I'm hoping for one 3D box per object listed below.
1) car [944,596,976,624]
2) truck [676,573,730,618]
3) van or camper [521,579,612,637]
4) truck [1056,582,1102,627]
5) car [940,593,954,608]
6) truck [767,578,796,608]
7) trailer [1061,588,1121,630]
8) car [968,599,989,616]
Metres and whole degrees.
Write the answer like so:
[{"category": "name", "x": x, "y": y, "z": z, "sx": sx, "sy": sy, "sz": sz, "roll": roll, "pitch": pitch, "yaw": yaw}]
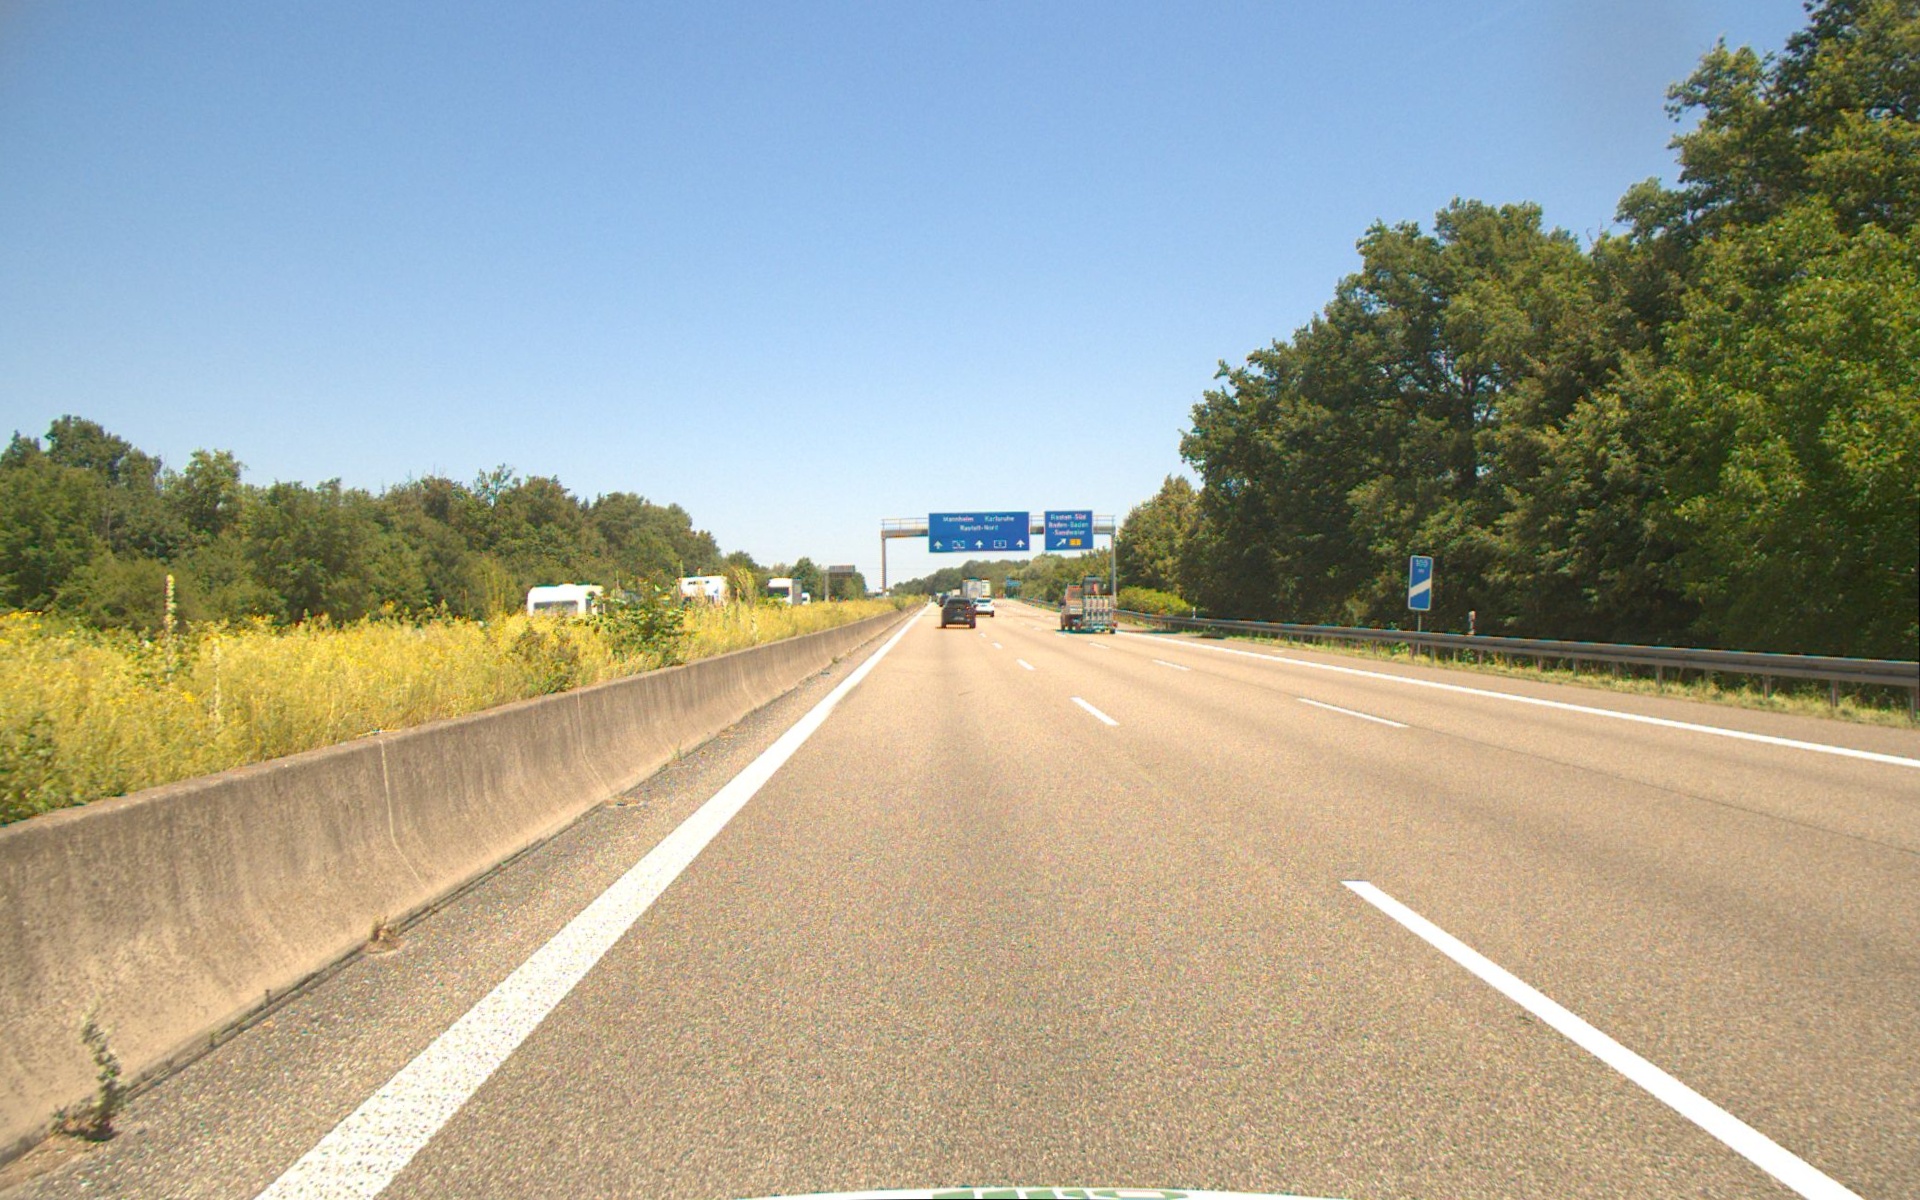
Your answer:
[{"category": "car", "x": -0.020, "y": 0.547, "z": 94.775, "sx": 1.627, "sy": 1.576, "sz": 3.781, "roll": -1, "pitch": 0, "yaw": -2}, {"category": "truck", "x": -13.773, "y": -0.221, "z": 88.876, "sx": 2.264, "sy": 2.367, "sz": 6.076, "roll": 0, "pitch": 0, "yaw": -3}, {"category": "van or camper", "x": -14.748, "y": 0.314, "z": 62.367, "sx": 2.177, "sy": 2.049, "sz": 5.884, "roll": 1, "pitch": 0, "yaw": -2}, {"category": "truck", "x": 6.409, "y": 0.228, "z": 89.452, "sx": 1.953, "sy": 2.415, "sz": 4.642, "roll": 0, "pitch": 0, "yaw": -2}, {"category": "car", "x": -2.028, "y": 0.085, "z": 250.845, "sx": 1.953, "sy": 2.049, "sz": 3.999, "roll": -2, "pitch": 0, "yaw": -2}, {"category": "truck", "x": -19.552, "y": -0.759, "z": 181.390, "sx": 2.589, "sy": 3.138, "sz": 5.847, "roll": 1, "pitch": 0, "yaw": -1}, {"category": "trailer", "x": 6.618, "y": 0.426, "z": 84.100, "sx": 2.372, "sy": 2.049, "sz": 6.031, "roll": 0, "pitch": 0, "yaw": -2}, {"category": "car", "x": 1.617, "y": 0.654, "z": 144.085, "sx": 1.705, "sy": 1.512, "sz": 3.999, "roll": 0, "pitch": 0, "yaw": -1}]
